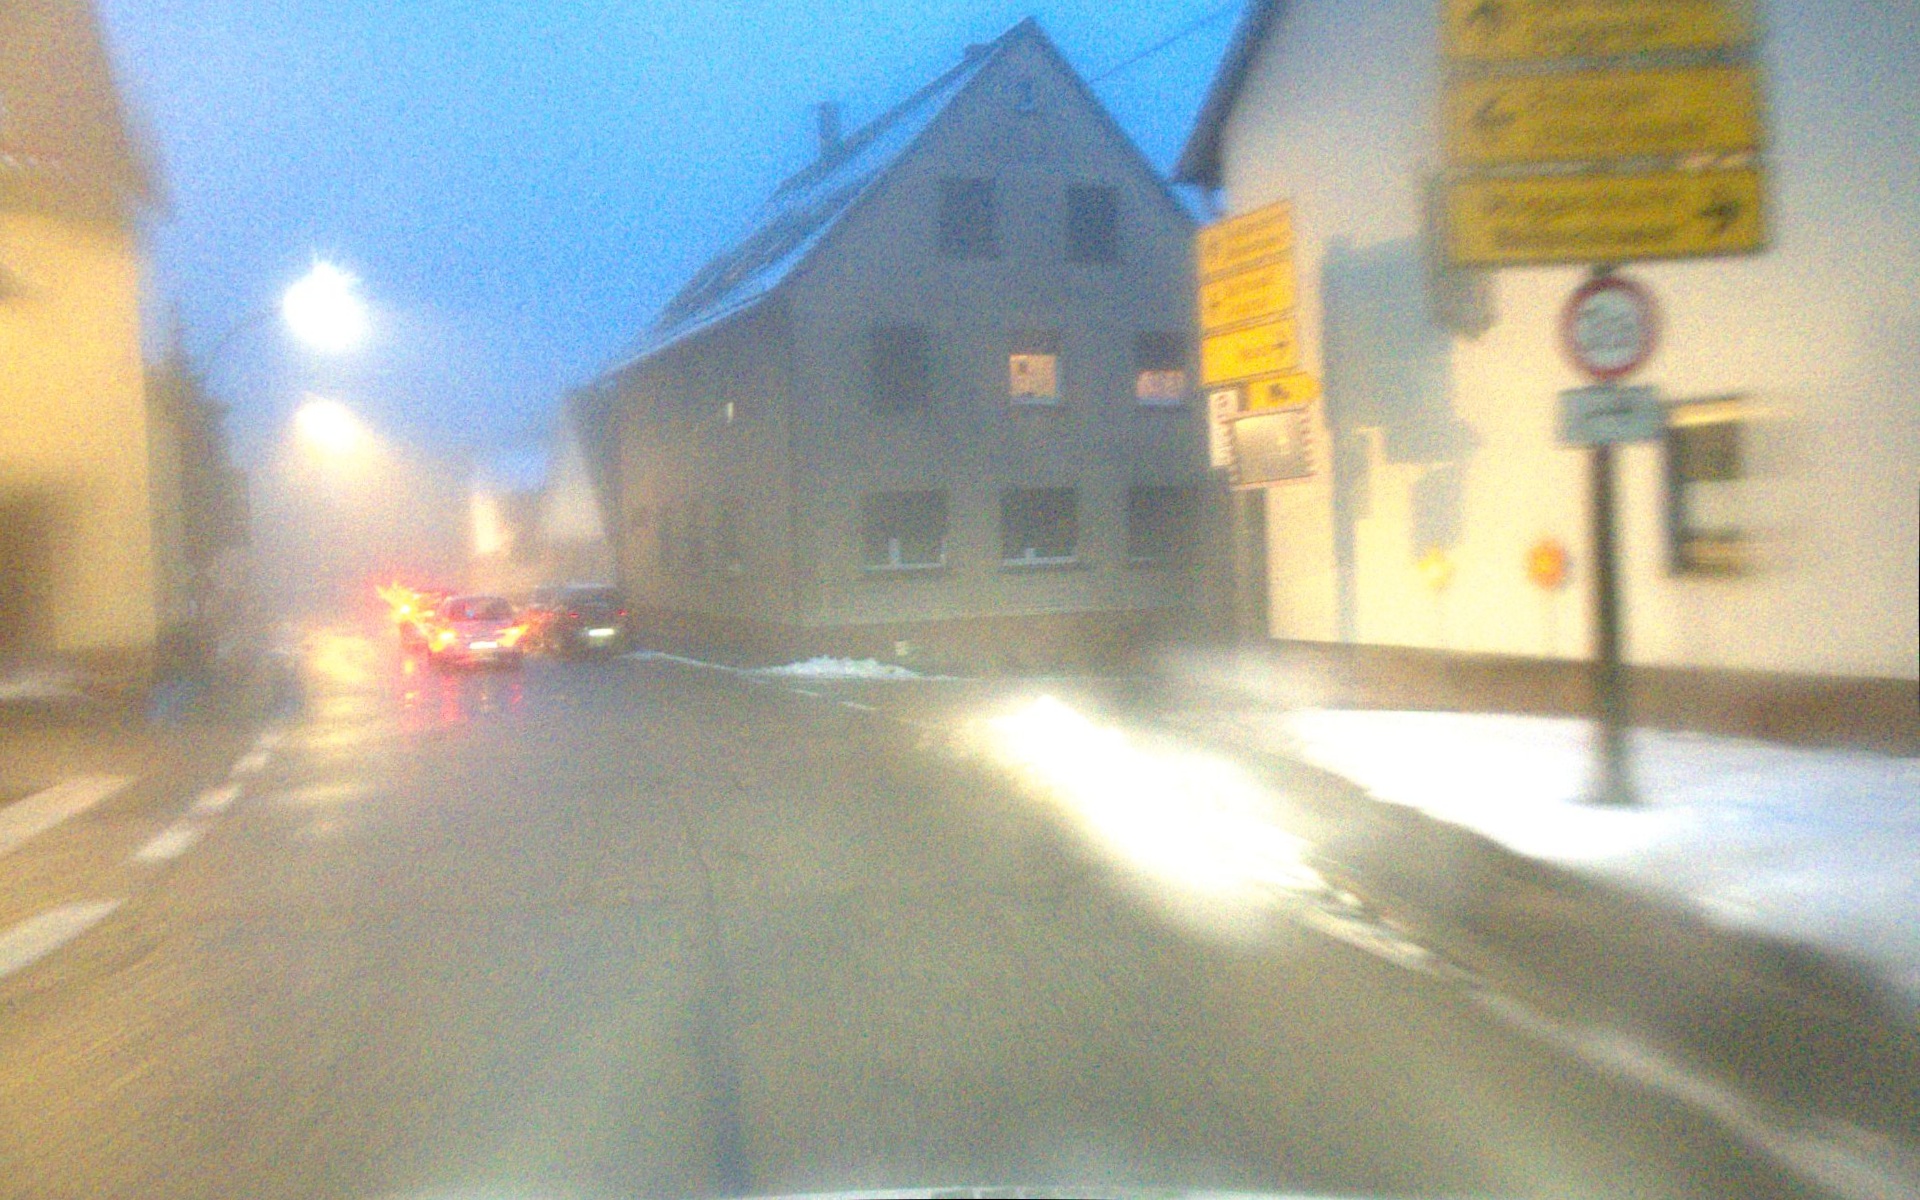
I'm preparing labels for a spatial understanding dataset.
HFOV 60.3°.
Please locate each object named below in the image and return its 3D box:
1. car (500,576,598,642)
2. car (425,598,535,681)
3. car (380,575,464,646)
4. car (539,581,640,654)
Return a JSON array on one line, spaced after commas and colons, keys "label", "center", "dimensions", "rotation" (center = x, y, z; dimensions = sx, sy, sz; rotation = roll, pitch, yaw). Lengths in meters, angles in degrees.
[{"label": "car", "center": [-10.399, 0.195, 41.644], "dimensions": [1.883, 1.506, 4.255], "rotation": [-2, 1, -21]}, {"label": "car", "center": [-9.668, 0.772, 33.119], "dimensions": [1.963, 1.534, 3.978], "rotation": [0, -1, -19]}, {"label": "car", "center": [-13.923, 0.295, 42.844], "dimensions": [1.963, 1.758, 3.979], "rotation": [0, -1, -18]}, {"label": "car", "center": [-8.255, 0.399, 36.621], "dimensions": [1.691, 1.526, 3.883], "rotation": [0, -1, -20]}]
